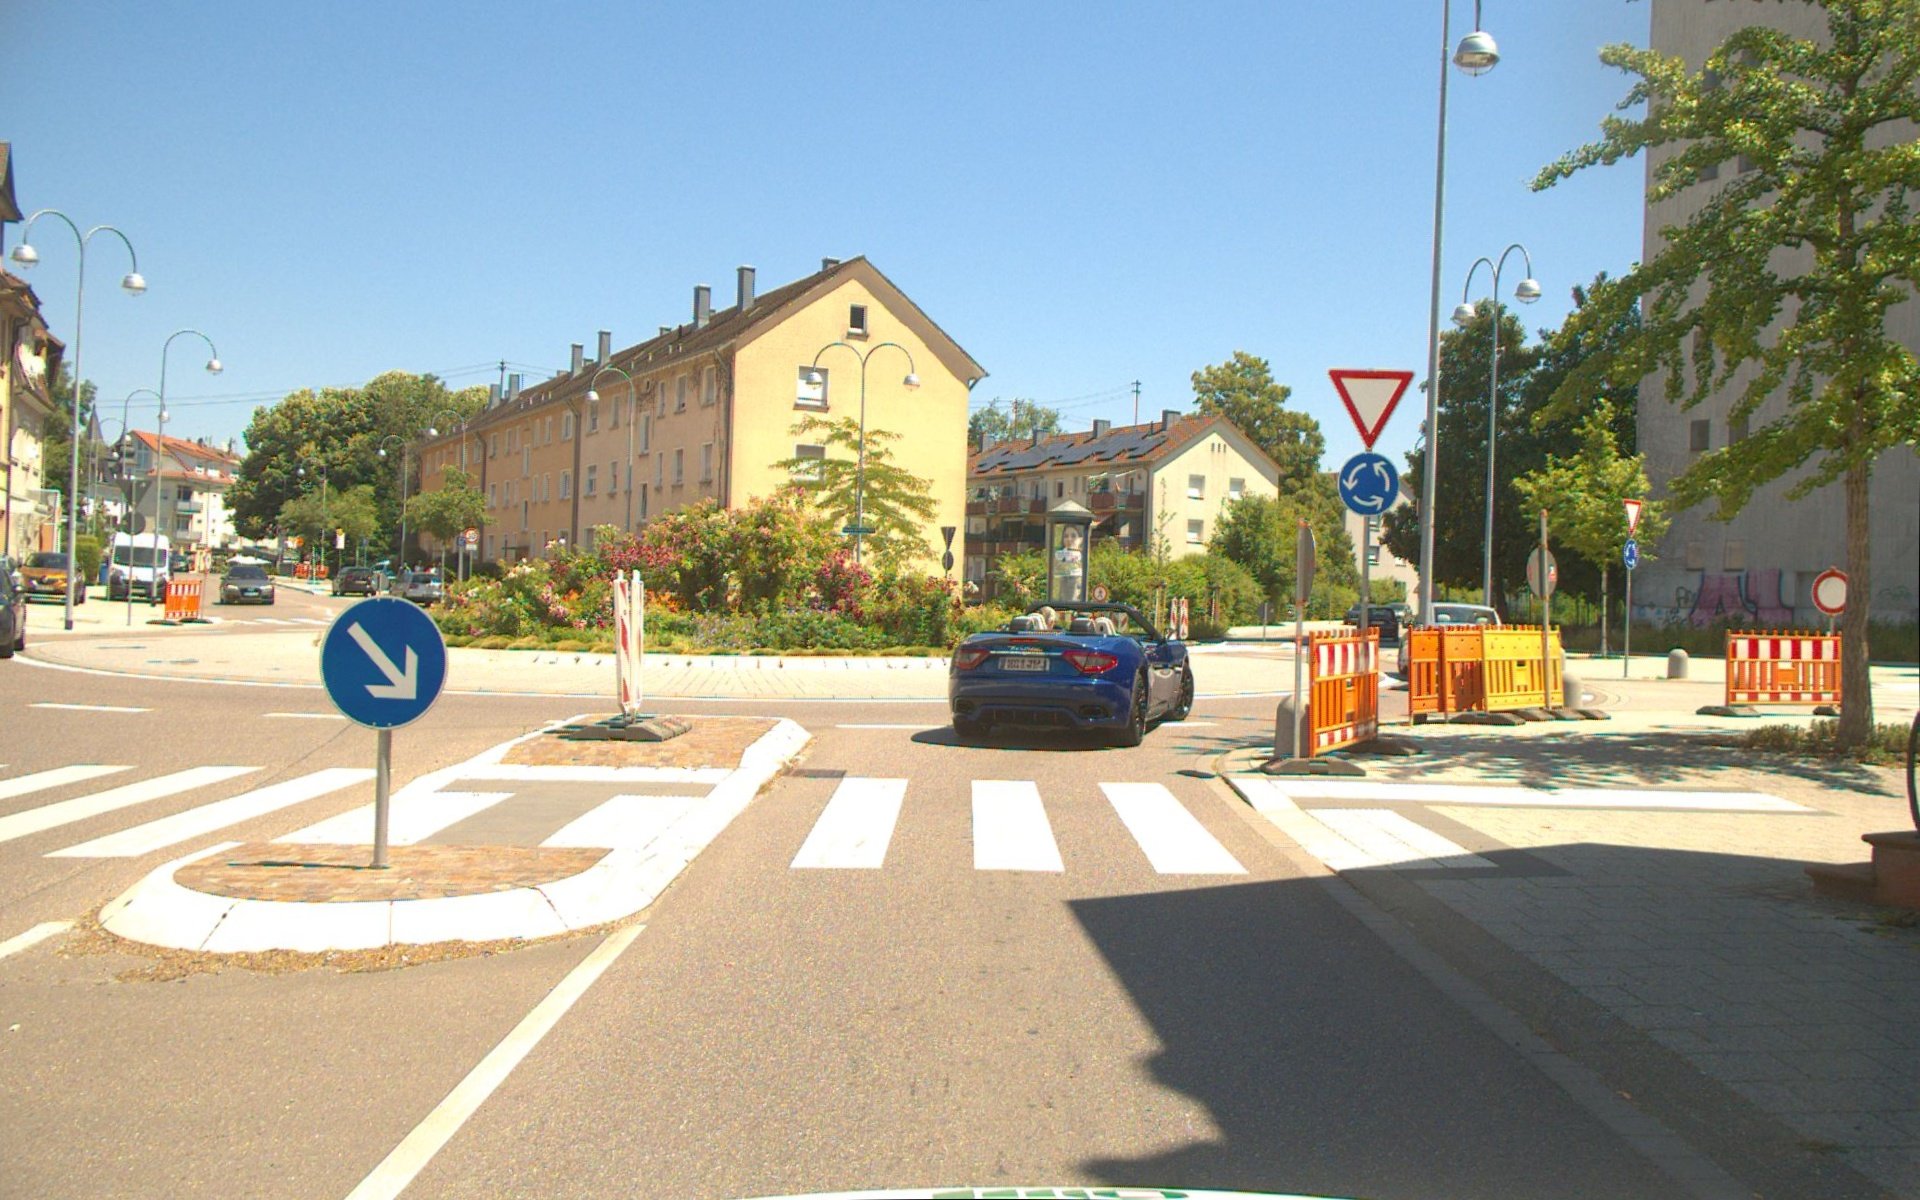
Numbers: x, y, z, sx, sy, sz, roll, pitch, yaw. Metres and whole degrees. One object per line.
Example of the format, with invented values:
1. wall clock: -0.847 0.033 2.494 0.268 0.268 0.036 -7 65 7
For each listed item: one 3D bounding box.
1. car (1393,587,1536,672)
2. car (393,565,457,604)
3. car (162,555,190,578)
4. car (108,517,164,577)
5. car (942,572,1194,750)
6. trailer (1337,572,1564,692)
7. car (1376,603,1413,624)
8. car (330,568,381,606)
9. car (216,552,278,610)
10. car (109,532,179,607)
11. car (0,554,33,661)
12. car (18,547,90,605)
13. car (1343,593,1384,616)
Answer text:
1. car: 9.173 0.500 30.349 1.702 1.461 3.712 0 0 4
2. car: -23.212 -0.679 71.685 1.793 1.526 3.960 4 -1 -30
3. car: -67.896 -2.921 143.259 1.793 1.825 3.960 4 -1 -30
4. car: -38.324 -2.425 76.952 2.119 2.577 4.813 4 -1 -27
5. car: 1.285 0.605 17.350 1.831 1.557 4.510 2 -1 14
6. trailer: 7.625 0.469 25.686 3.155 1.747 1.738 0 0 -31
7. car: 31.076 0.943 118.185 1.706 1.461 3.704 0 0 29
8. car: -31.355 -0.708 85.773 1.793 1.825 3.960 4 -1 -30
9. car: -27.371 -0.750 63.568 1.966 2.049 3.974 3 0 -22
10. car: -30.723 -1.149 62.268 2.119 2.577 6.184 4 -1 -27
11. car: -15.488 0.045 25.161 1.650 1.477 3.963 -1 4 -41
12. car: -28.471 -0.765 52.065 1.578 1.645 4.060 4 -1 -24
13. car: 26.139 0.296 107.110 1.706 1.461 3.704 0 0 29
